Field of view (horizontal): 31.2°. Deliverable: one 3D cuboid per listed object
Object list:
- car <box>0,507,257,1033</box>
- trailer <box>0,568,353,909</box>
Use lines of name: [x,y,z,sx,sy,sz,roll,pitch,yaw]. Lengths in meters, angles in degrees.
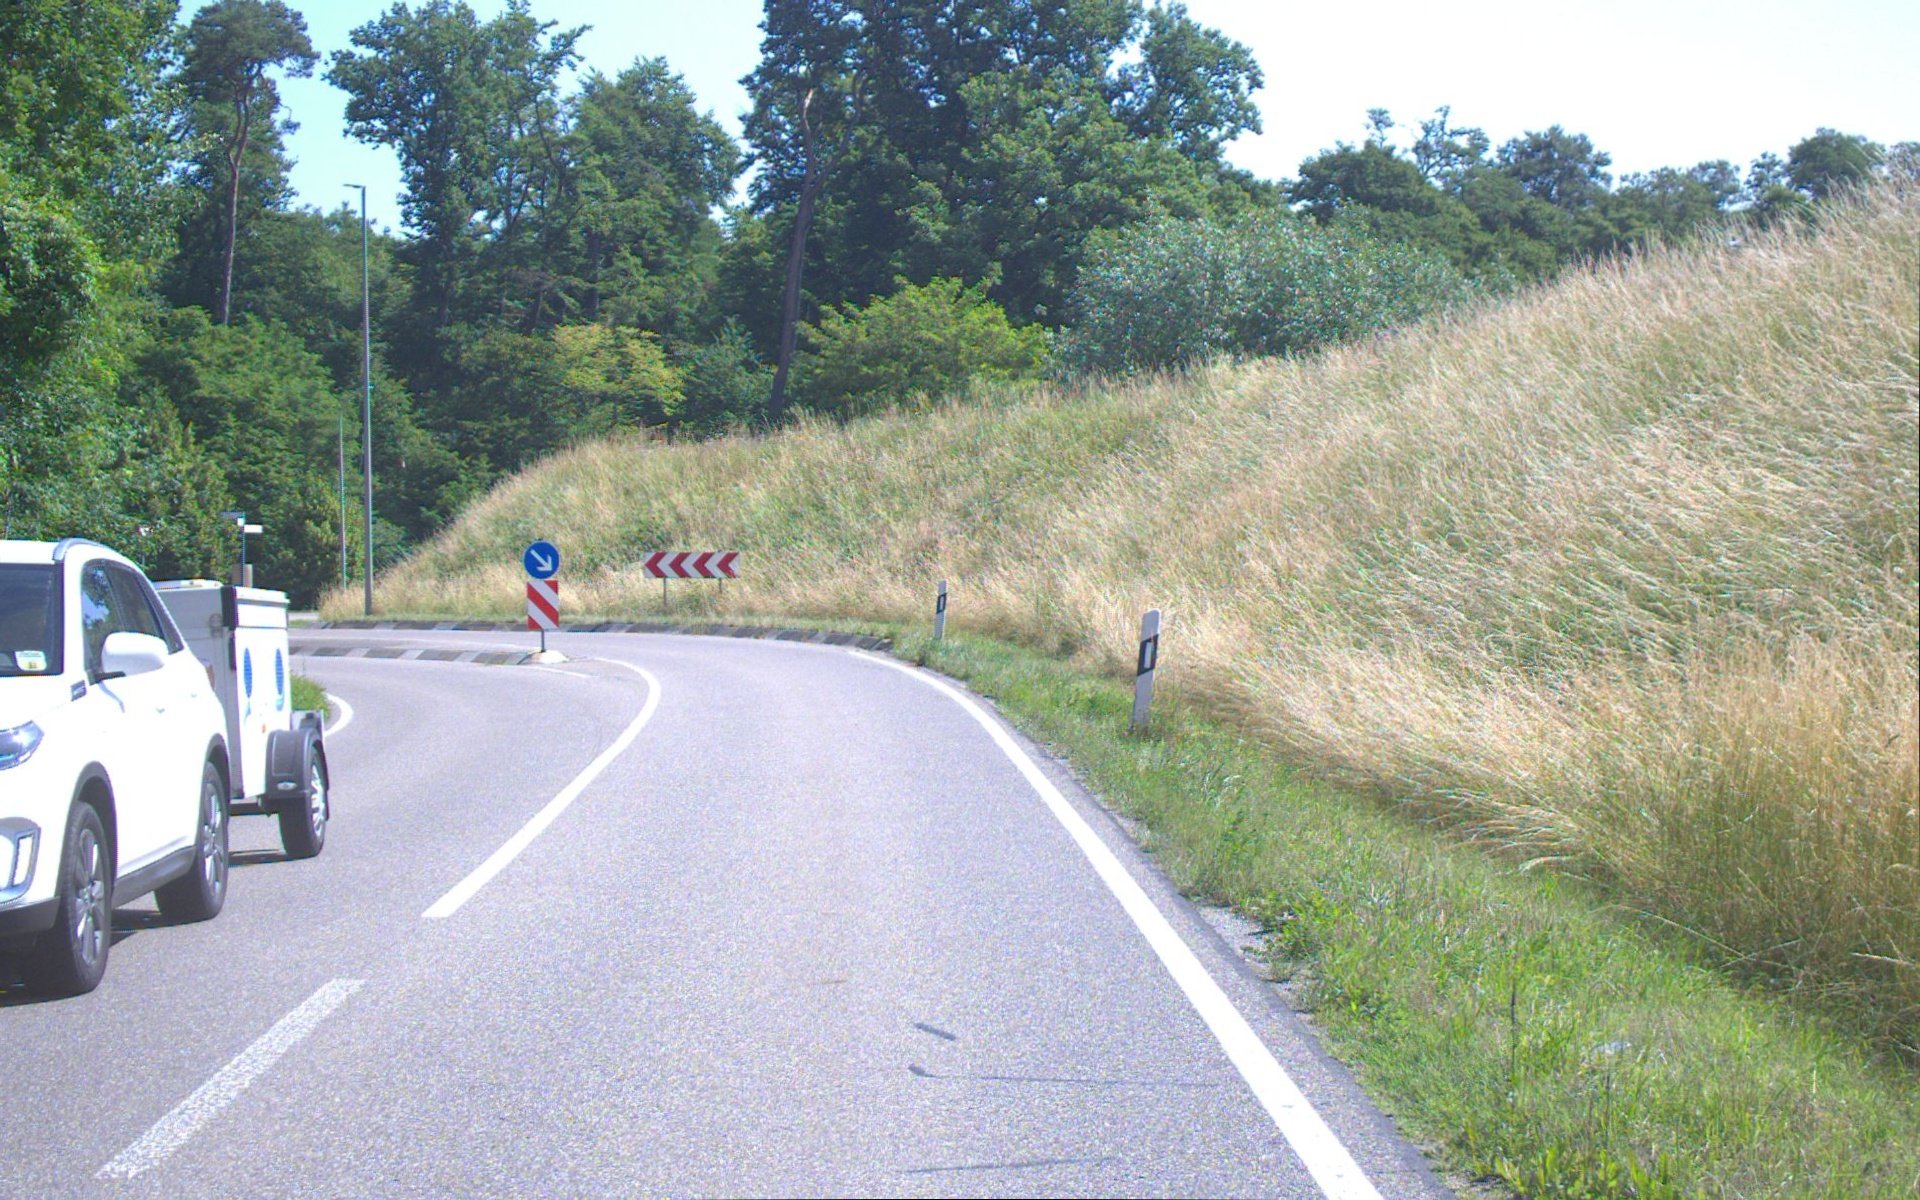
car: [-3.865,0.521,12.900,1.809,1.671,4.001,-1,1,-3]
trailer: [-3.951,0.594,16.564,1.559,1.436,3.269,-1,1,-2]
